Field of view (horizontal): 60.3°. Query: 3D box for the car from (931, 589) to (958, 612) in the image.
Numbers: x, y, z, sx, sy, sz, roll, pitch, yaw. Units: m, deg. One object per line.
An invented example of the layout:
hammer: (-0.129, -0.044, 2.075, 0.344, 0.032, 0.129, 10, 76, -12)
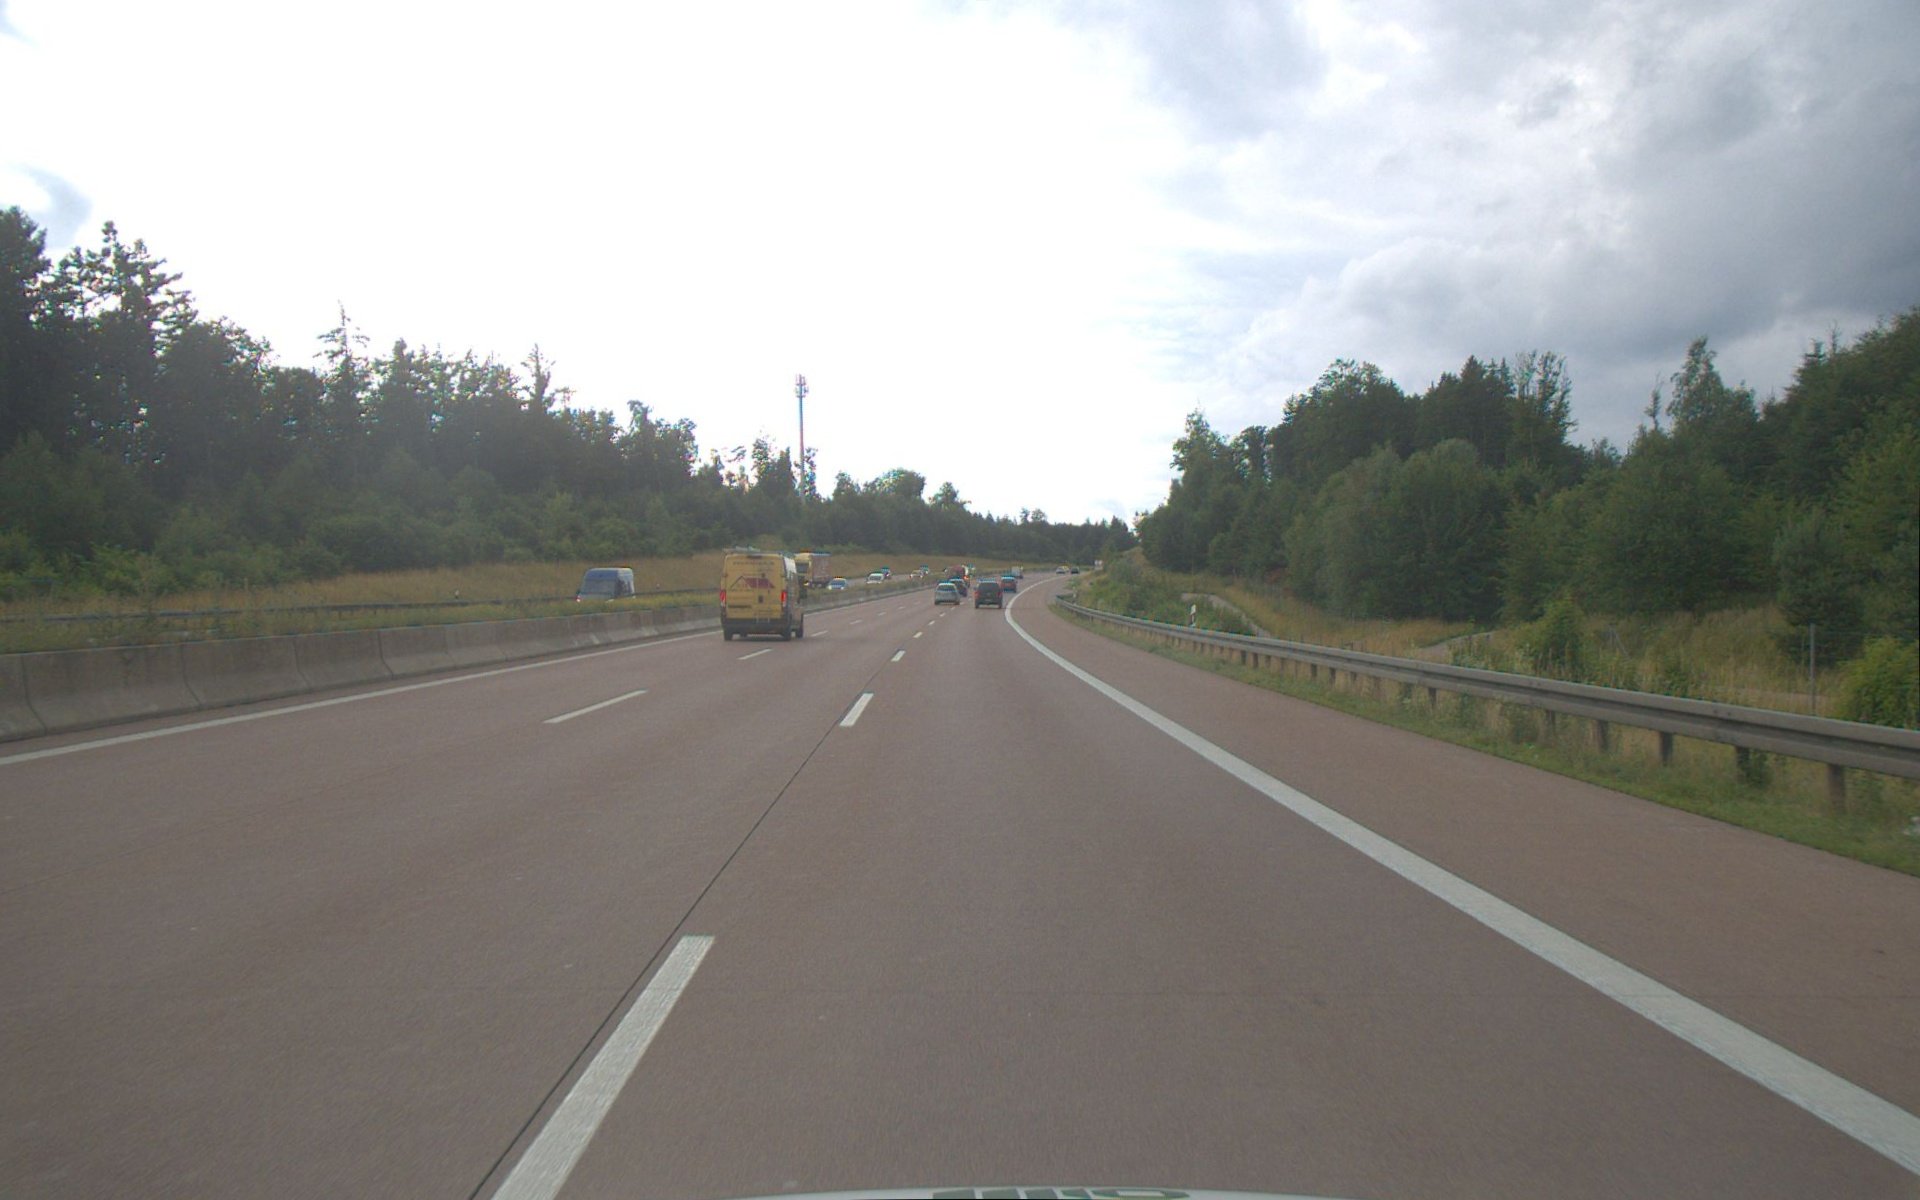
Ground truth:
car: (-1.146, 0.023, 124.270, 1.937, 1.677, 4.619, 0, 0, 1)

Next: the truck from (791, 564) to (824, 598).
truck: (-16.909, -2.100, 184.199, 2.950, 3.645, 6.058, 1, 0, 1)

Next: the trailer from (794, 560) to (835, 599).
trailer: (-16.734, -2.292, 191.265, 2.970, 4.112, 14.533, 1, 0, 1)

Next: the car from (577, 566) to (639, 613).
car: (-18.071, -0.570, 85.217, 1.953, 2.281, 6.040, 1, 1, -1)

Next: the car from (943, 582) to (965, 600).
car: (-0.534, -0.848, 158.611, 1.936, 1.677, 4.620, 0, 0, 2)

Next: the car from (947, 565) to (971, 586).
car: (-0.106, -3.053, 204.145, 2.193, 2.472, 6.209, 2, 1, 6)

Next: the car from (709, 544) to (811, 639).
car: (-6.086, -0.241, 51.061, 2.408, 2.753, 5.614, 0, 0, 1)

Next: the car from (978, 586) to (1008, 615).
car: (2.266, 0.031, 113.736, 2.002, 1.930, 5.577, 0, 0, 1)

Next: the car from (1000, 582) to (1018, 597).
car: (5.428, -1.132, 182.953, 1.936, 1.677, 4.620, 0, 0, 2)
